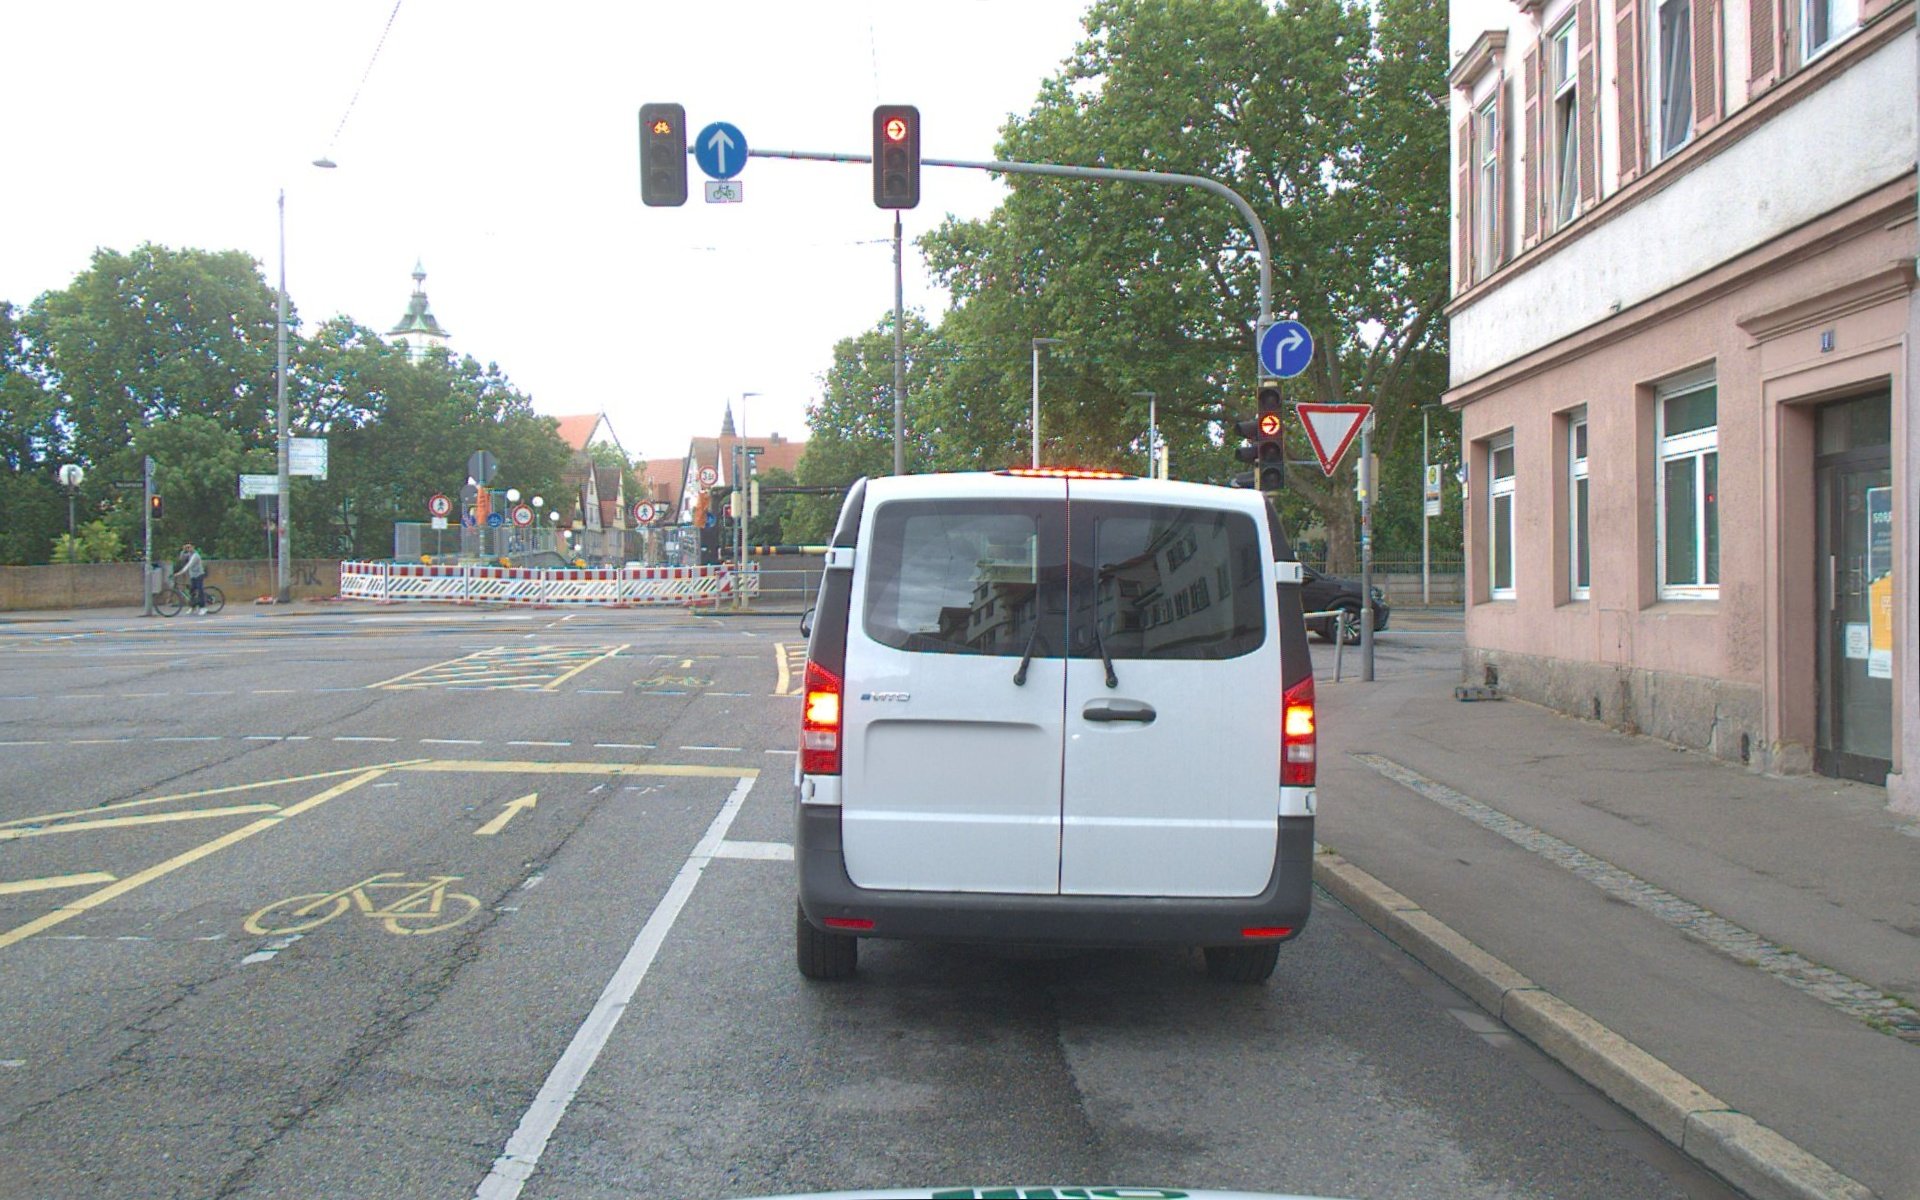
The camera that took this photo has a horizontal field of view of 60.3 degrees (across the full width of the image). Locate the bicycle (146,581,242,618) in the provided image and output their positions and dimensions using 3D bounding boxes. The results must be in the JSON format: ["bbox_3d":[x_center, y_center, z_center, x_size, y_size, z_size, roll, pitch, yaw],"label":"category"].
[{"bbox_3d":[-19.709,-0.026,42.586,2.120,0.907,0.749,-1,2,-42],"label":"bicycle"}]

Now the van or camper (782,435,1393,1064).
[{"bbox_3d":[0.266,0.404,7.421,1.899,1.958,4.438,1,2,-4],"label":"van or camper"}]

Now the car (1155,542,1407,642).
[{"bbox_3d":[5.399,-0.162,28.215,3.985,1.600,1.829,-1,2,2],"label":"car"}]

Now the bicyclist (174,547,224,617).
[{"bbox_3d":[-19.616,-0.478,42.647,0.996,1.774,0.743,-1,1,-42],"label":"bicyclist"}]
